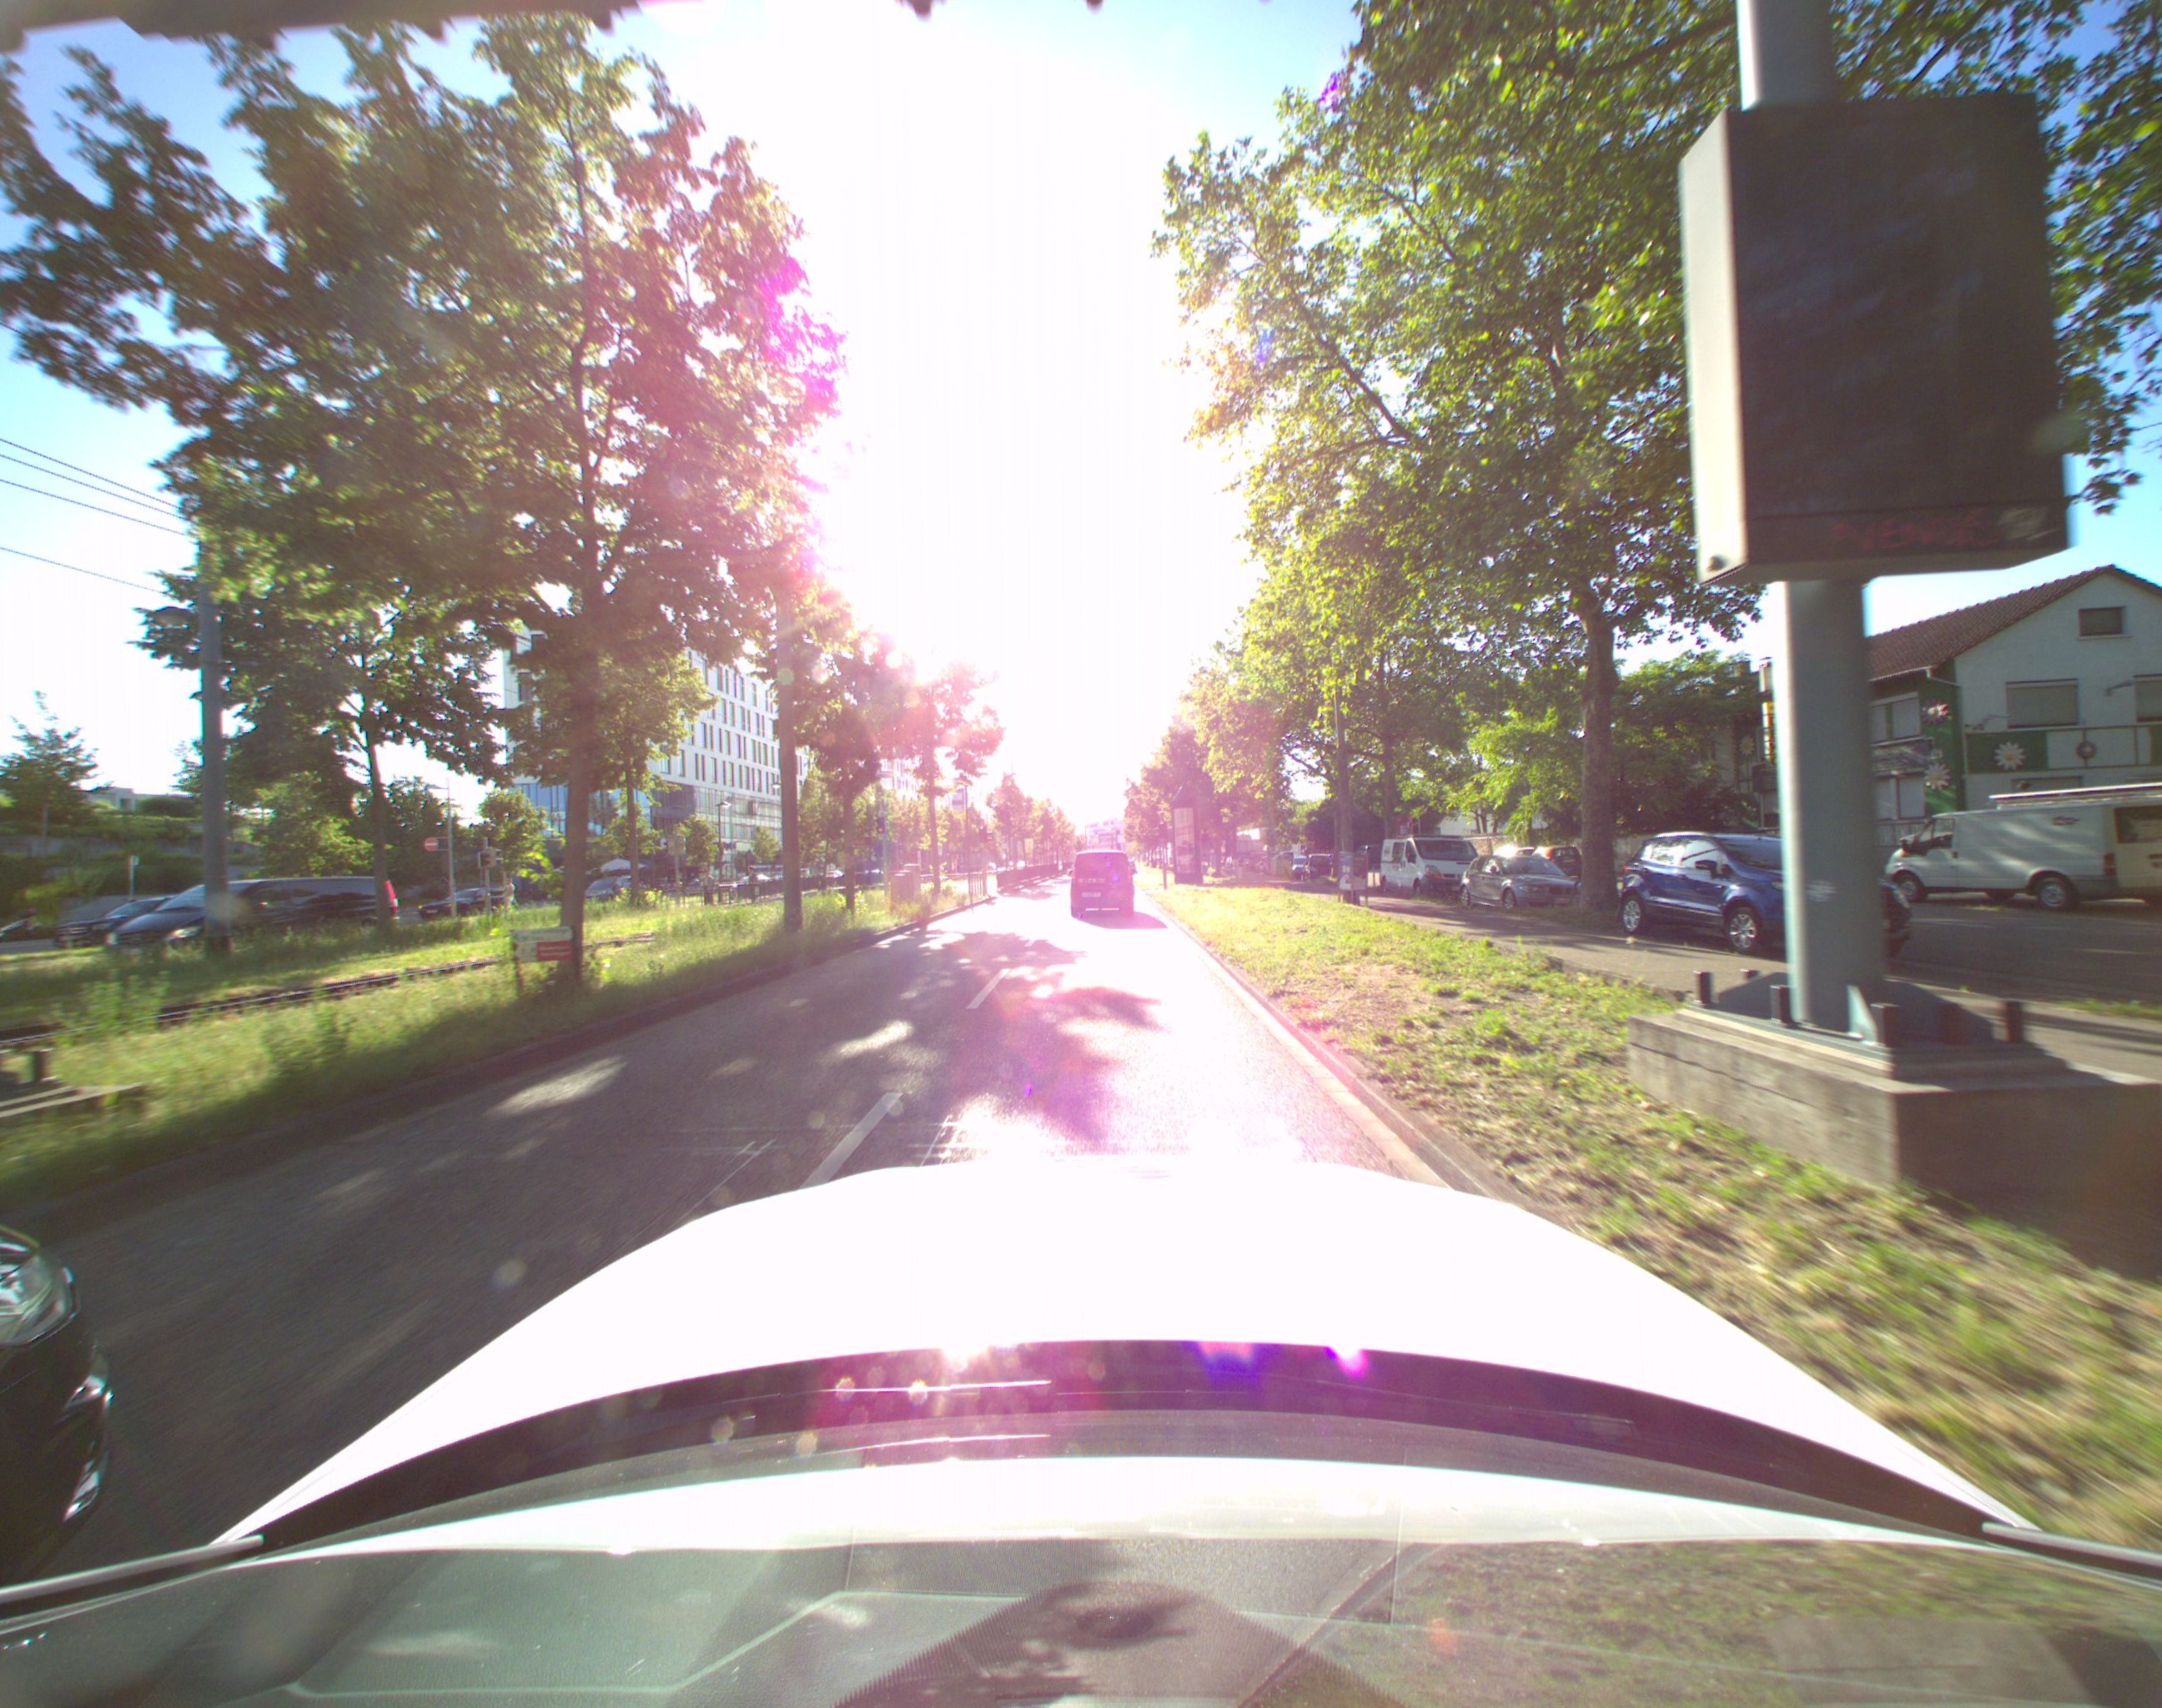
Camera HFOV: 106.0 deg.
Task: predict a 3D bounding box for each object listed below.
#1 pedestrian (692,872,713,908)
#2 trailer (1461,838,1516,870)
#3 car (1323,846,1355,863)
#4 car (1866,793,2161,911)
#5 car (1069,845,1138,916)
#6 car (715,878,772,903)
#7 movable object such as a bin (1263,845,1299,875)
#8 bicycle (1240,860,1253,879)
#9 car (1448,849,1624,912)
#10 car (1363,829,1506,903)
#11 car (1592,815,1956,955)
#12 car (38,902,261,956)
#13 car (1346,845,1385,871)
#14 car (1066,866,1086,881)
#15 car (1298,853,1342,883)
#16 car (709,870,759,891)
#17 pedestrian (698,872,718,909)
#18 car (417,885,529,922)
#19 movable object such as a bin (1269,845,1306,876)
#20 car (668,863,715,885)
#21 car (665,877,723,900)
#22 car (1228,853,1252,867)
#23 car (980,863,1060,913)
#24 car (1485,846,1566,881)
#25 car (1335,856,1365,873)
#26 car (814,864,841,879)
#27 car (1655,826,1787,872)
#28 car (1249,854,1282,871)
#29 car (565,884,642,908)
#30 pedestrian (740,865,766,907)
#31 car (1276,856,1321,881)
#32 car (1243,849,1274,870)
[{"bbox_3d":[-16.173,1.534,34.809,0.540,1.497,0.604,-1,-1,6],"label":"pedestrian"},{"bbox_3d":[22.988,0.027,46.024,1.722,1.640,3.028,-4,-2,6],"label":"trailer"},{"bbox_3d":[25.952,0.097,82.154,1.863,1.483,4.694,-4,-1,3],"label":"car"},{"bbox_3d":[19.195,-0.025,16.525,2.076,2.014,4.951,-2,-1,7],"label":"car"},{"bbox_3d":[0.555,0.738,23.384,1.803,1.838,3.998,0,-1,-1],"label":"car"},{"bbox_3d":[-21.717,2.322,52.522,1.987,1.486,3.999,0,-1,0],"label":"car"},{"bbox_3d":[13.725,0.435,55.974,2.071,2.014,2.139,-1,-1,6],"label":"movable object such as a bin"},{"bbox_3d":[9.493,0.901,46.674,0.491,1.046,1.906,-1,-1,4],"label":"bicycle"},{"bbox_3d":[10.351,0.591,18.926,1.985,1.290,4.056,-1,-1,3],"label":"car"},{"bbox_3d":[10.659,0.381,25.180,2.180,2.014,5.824,-1,-1,3],"label":"car"},{"bbox_3d":[9.531,0.403,11.794,1.729,1.642,4.356,-1,-1,3],"label":"car"},{"bbox_3d":[-30.414,2.394,26.864,1.871,1.435,4.614,-1,-1,3],"label":"car"},{"bbox_3d":[24.216,0.390,69.473,1.863,2.002,4.694,-4,-1,3],"label":"car"},{"bbox_3d":[-0.552,2.112,89.240,1.986,1.618,4.002,0,-1,2],"label":"car"},{"bbox_3d":[12.539,0.727,42.929,1.654,1.500,2.993,-1,-1,5],"label":"car"},{"bbox_3d":[-28.876,2.195,67.954,1.985,1.672,4.614,-1,-1,3],"label":"car"},{"bbox_3d":[-15.649,1.518,34.171,0.547,1.518,0.589,-1,-1,7],"label":"pedestrian"},{"bbox_3d":[-29.946,2.378,40.319,1.871,1.621,4.614,-1,-1,3],"label":"car"},{"bbox_3d":[13.453,0.435,53.216,2.071,2.014,2.139,-1,-1,6],"label":"movable object such as a bin"},{"bbox_3d":[-36.563,1.885,76.500,1.985,2.014,4.566,0,-1,3],"label":"car"},{"bbox_3d":[-29.328,2.585,61.911,1.985,1.608,4.614,-1,-1,3],"label":"car"},{"bbox_3d":[16.641,0.652,85.207,1.864,1.368,4.001,0,-1,2],"label":"car"},{"bbox_3d":[-1.932,1.072,27.468,1.944,1.480,5.090,-1,0,4],"label":"car"},{"bbox_3d":[22.028,0.486,40.567,1.983,1.483,4.331,-4,-1,6],"label":"car"},{"bbox_3d":[25.200,0.982,76.467,1.722,1.371,4.320,-4,-2,6],"label":"car"},{"bbox_3d":[-33.995,2.377,109.362,1.985,2.014,4.566,0,-1,3],"label":"car"},{"bbox_3d":[27.011,-0.174,34.483,4.067,1.851,1.850,0,-1,2],"label":"car"},{"bbox_3d":[15.186,0.734,67.226,1.864,1.389,4.001,0,-1,2],"label":"car"},{"bbox_3d":[-29.676,2.591,50.765,1.905,1.325,4.614,-1,-1,3],"label":"car"},{"bbox_3d":[-14.272,1.387,35.483,0.818,1.836,0.726,0,-1,-1],"label":"pedestrian"},{"bbox_3d":[12.886,0.883,48.518,1.988,1.384,4.754,-1,-1,8],"label":"car"},{"bbox_3d":[15.777,0.509,72.608,1.864,1.820,4.894,0,-1,2],"label":"car"}]
